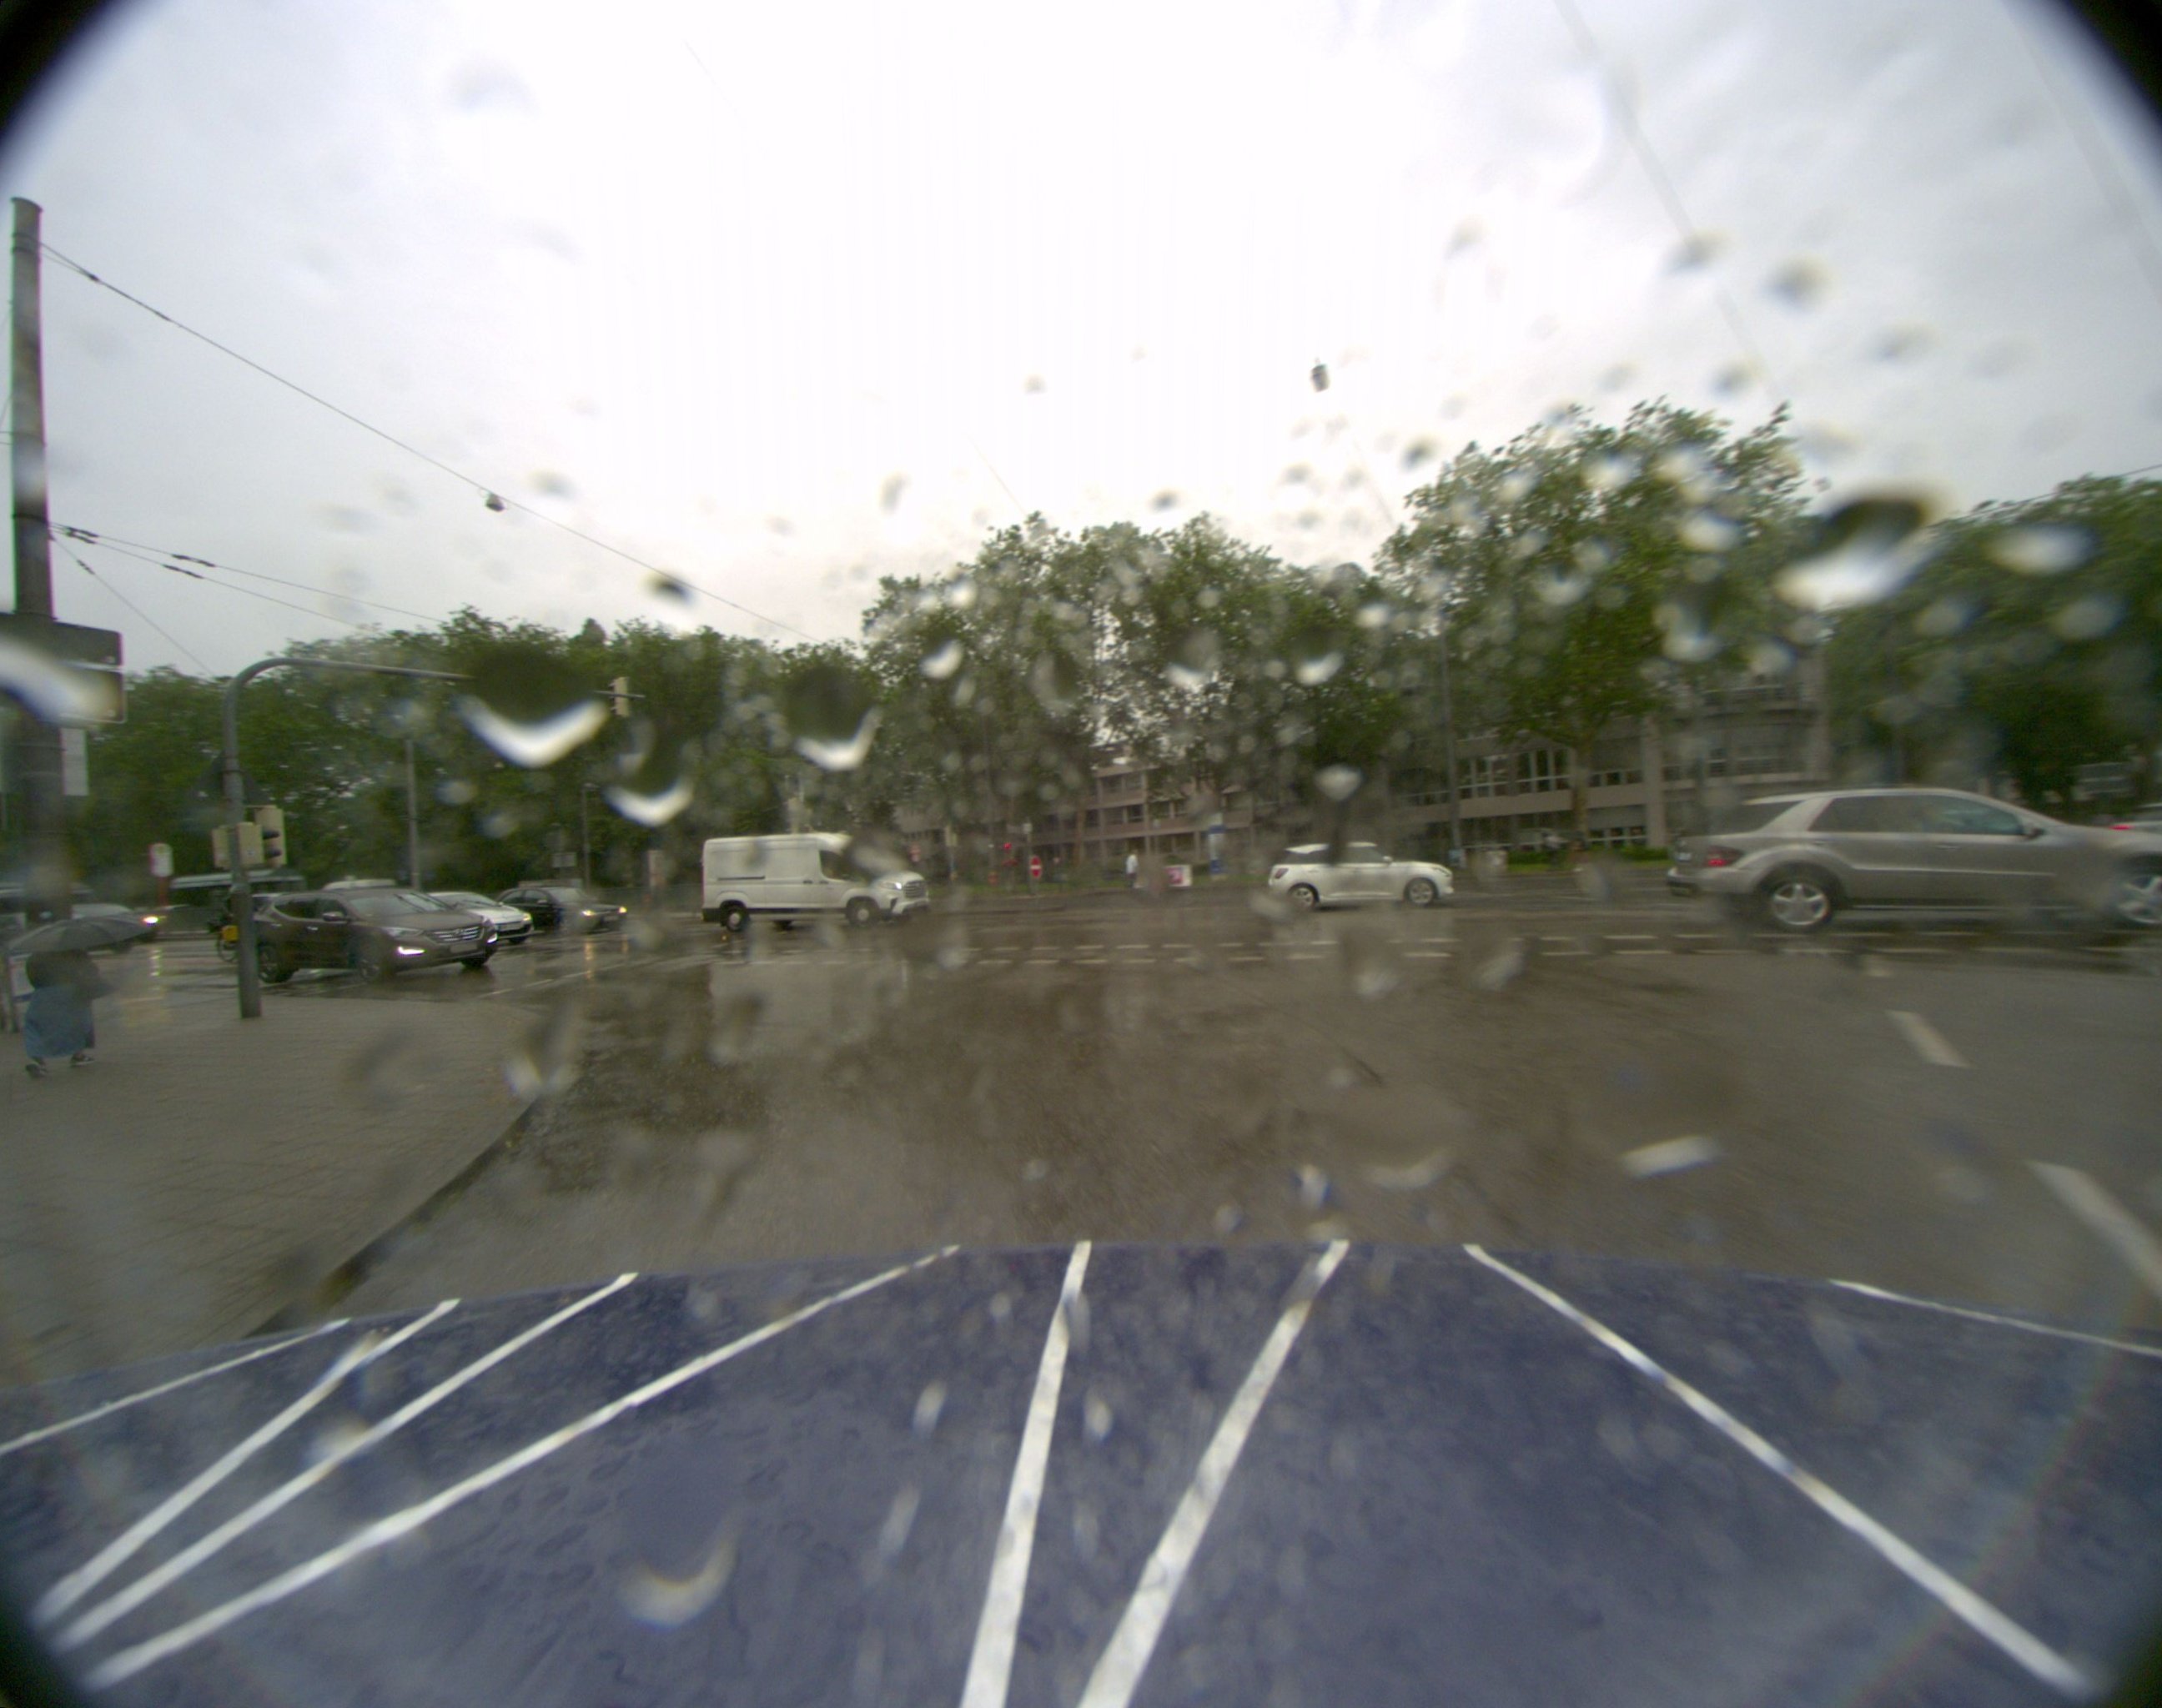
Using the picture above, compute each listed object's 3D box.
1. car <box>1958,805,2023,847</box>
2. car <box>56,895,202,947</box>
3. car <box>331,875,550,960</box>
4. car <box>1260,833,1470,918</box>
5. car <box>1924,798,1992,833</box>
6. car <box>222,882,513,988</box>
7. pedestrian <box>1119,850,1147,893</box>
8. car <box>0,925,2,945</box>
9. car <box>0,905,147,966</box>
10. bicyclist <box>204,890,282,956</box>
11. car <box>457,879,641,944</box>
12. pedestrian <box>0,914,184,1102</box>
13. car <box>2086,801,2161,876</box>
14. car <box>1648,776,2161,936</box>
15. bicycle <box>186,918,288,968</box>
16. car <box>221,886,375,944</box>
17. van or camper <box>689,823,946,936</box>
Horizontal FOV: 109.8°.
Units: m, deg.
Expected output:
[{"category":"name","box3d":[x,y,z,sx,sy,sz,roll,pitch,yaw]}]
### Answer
[{"category":"car","box3d":[43.919,-1.363,36.760,4.007,1.761,1.799,-4,-1,-41]},{"category":"car","box3d":[-36.866,2.592,29.458,4.183,1.637,1.916,-4,1,15]},{"category":"car","box3d":[-15.972,1.568,19.030,4.259,1.731,1.978,-4,1,14]},{"category":"car","box3d":[6.181,0.466,16.997,4.067,1.578,1.809,-4,0,11]},{"category":"car","box3d":[48.508,-2.109,42.116,1.999,1.761,4.007,-2,1,42]},{"category":"car","box3d":[-13.629,1.543,14.552,4.671,1.637,1.916,-4,1,17]},{"category":"pedestrian","box3d":[2.006,0.673,29.379,0.718,1.601,0.734,-4,0,-22]},{"category":"car","box3d":[-49.695,3.437,32.962,4.183,1.400,1.916,-4,1,15]},{"category":"car","box3d":[-32.147,2.559,23.709,5.326,1.583,1.951,-4,-1,18]},{"category":"bicyclist","box3d":[-20.326,1.661,18.445,0.804,1.462,0.929,-2,2,18]},{"category":"car","box3d":[-15.460,1.669,22.127,4.548,1.504,1.789,-4,1,15]},{"category":"pedestrian","box3d":[-10.322,1.522,7.737,1.107,1.657,0.996,-5,1,-23]},{"category":"car","box3d":[24.292,-0.441,15.929,4.188,1.527,1.812,-4,0,-3]},{"category":"car","box3d":[10.337,0.056,9.621,4.670,1.637,1.917,-4,1,23]},{"category":"bicycle","box3d":[-20.473,2.152,18.437,1.994,1.082,0.820,-2,2,17]},{"category":"car","box3d":[-26.415,2.054,25.666,4.239,1.625,1.851,-4,1,18]},{"category":"van or camper","box3d":[-6.780,0.668,19.654,5.959,2.456,2.184,-4,1,17]}]
